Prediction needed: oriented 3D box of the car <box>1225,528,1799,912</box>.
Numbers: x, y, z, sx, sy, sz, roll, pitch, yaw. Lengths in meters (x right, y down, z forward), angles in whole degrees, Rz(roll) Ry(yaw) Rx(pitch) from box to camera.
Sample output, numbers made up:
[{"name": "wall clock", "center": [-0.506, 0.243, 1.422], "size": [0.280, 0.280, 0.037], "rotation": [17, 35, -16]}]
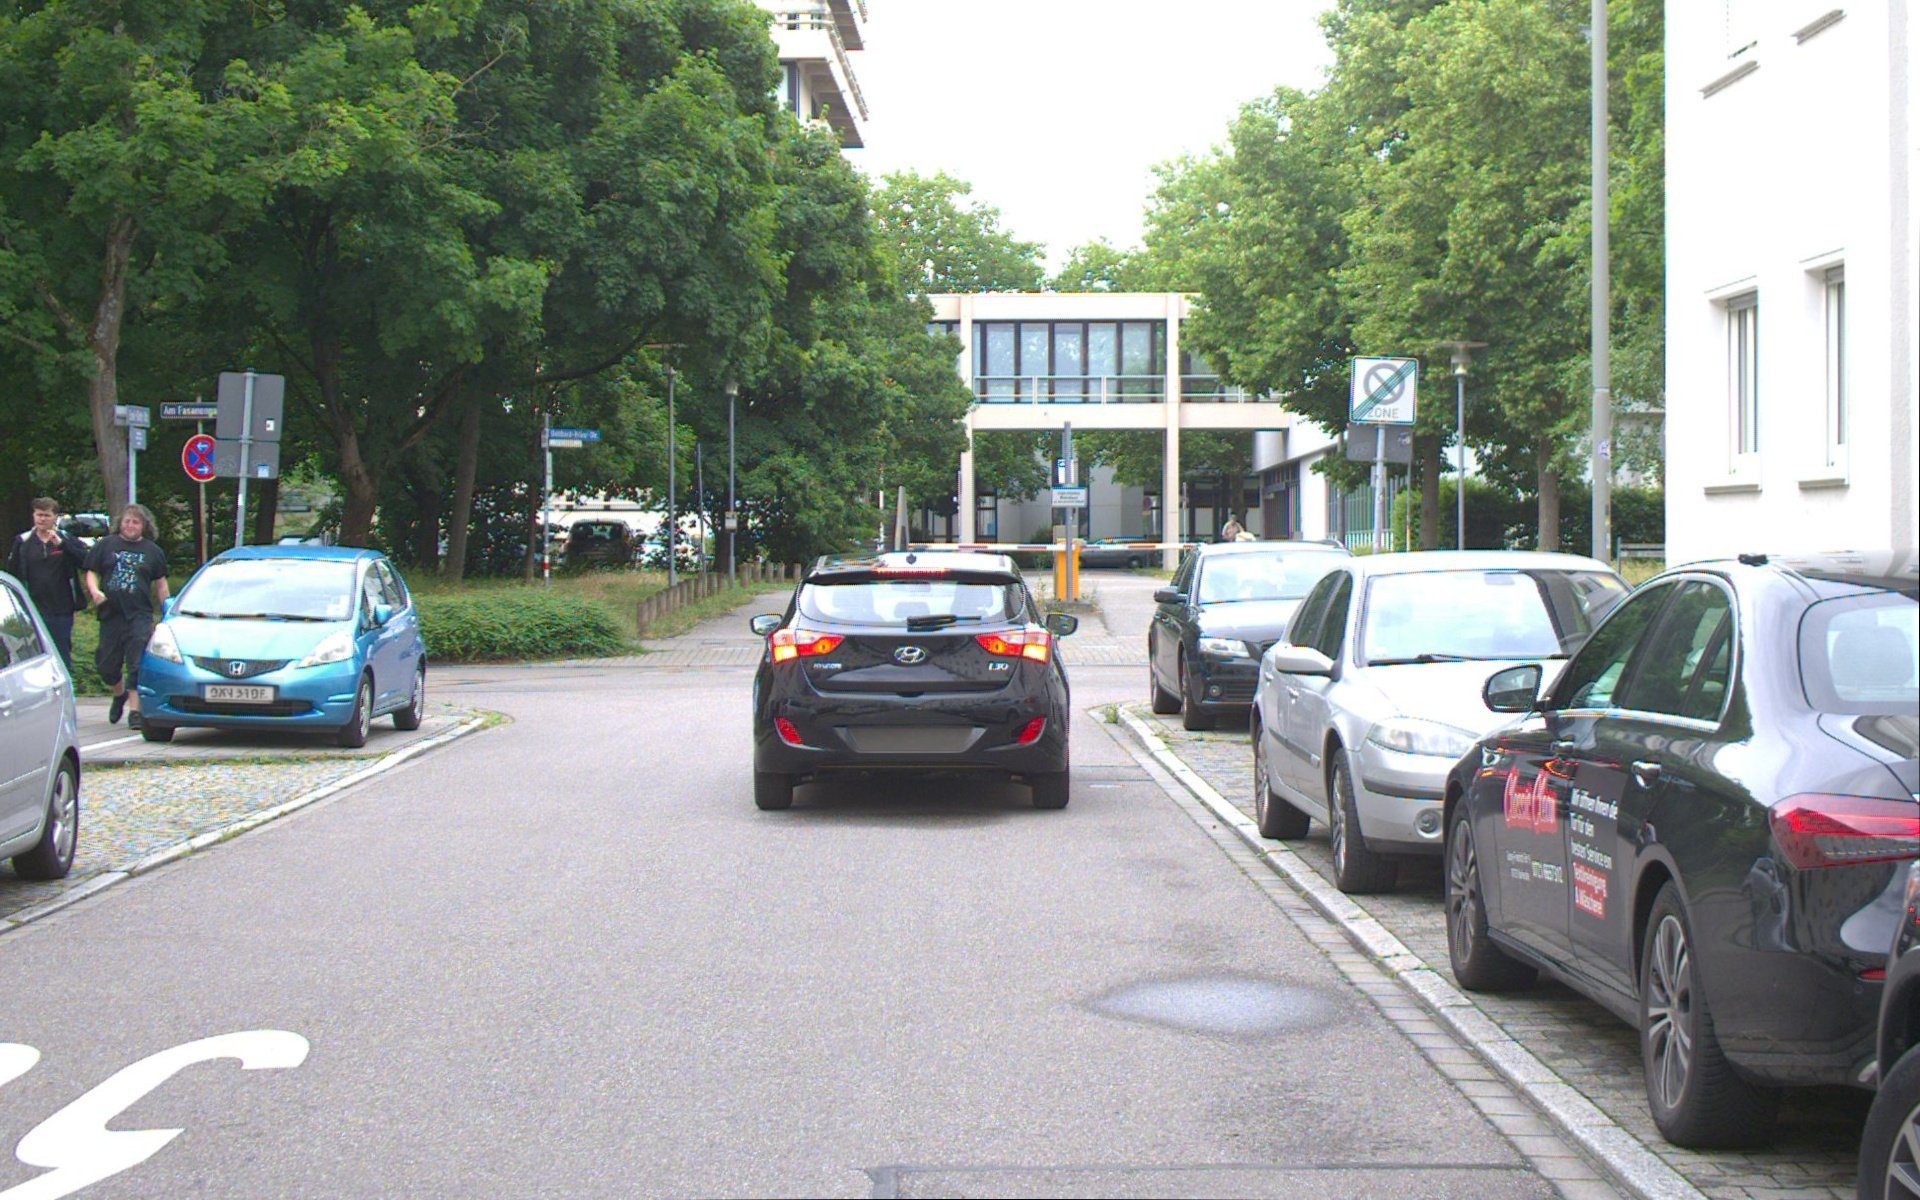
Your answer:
[{"name": "car", "center": [2.358, 0.432, 15.906], "size": [1.820, 1.514, 4.674], "rotation": [0, 1, -1]}]

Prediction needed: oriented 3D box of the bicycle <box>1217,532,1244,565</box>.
[{"name": "bicycle", "center": [8.491, -1.619, 107.933], "size": [0.693, 0.993, 1.735], "rotation": [0, 1, 1]}]

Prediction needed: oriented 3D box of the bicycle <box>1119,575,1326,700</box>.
[{"name": "bicycle", "center": [2.506, 0.351, 32.950], "size": [1.928, 1.159, 0.692], "rotation": [0, 1, 0]}]

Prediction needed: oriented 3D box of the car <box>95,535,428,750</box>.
[{"name": "car", "center": [-5.456, 0.279, 27.348], "size": [1.993, 1.535, 4.001], "rotation": [1, 1, -3]}]

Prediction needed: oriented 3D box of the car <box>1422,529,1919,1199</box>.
[{"name": "car", "center": [2.537, 0.567, 9.425], "size": [1.820, 1.514, 4.674], "rotation": [0, 1, -1]}]

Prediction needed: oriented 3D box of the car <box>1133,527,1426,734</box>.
[{"name": "car", "center": [2.456, 0.174, 27.490], "size": [1.820, 1.514, 4.674], "rotation": [0, 1, -1]}]

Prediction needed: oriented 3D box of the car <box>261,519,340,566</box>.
[{"name": "car", "center": [-18.977, -1.667, 99.047], "size": [1.665, 1.328, 3.396], "rotation": [0, 1, -1]}]

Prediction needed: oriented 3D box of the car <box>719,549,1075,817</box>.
[{"name": "car", "center": [-0.335, 0.414, 20.555], "size": [1.903, 1.428, 4.233], "rotation": [0, 1, 0]}]

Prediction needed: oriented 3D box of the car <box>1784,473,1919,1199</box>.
[{"name": "car", "center": [2.539, 0.620, 4.257], "size": [1.820, 1.597, 4.092], "rotation": [0, 1, -4]}]

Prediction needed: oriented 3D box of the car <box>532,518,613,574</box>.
[{"name": "car", "center": [-9.621, -1.356, 85.495], "size": [1.665, 1.328, 3.396], "rotation": [0, 1, -1]}]

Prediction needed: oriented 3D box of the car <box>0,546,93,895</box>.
[{"name": "car", "center": [-5.232, 0.525, 14.978], "size": [1.993, 1.536, 4.000], "rotation": [1, 1, -2]}]

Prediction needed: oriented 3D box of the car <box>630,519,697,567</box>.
[{"name": "car", "center": [-8.522, -1.650, 98.930], "size": [1.665, 1.328, 3.396], "rotation": [0, 1, -1]}]

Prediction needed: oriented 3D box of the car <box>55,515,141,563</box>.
[{"name": "car", "center": [-24.905, -1.777, 99.383], "size": [1.665, 1.328, 3.396], "rotation": [0, 1, -1]}]

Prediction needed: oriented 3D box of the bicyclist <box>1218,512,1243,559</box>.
[{"name": "bicyclist", "center": [8.496, -2.029, 107.984], "size": [0.693, 1.439, 0.795], "rotation": [0, 1, 1]}]

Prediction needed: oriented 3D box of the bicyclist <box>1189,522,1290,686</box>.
[{"name": "bicyclist", "center": [2.675, 0.032, 32.939], "size": [0.899, 1.546, 0.693], "rotation": [0, 1, 0]}]

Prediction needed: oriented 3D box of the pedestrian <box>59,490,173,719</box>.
[{"name": "pedestrian", "center": [-6.842, 0.030, 27.889], "size": [0.714, 1.825, 0.797], "rotation": [0, 1, 1]}]

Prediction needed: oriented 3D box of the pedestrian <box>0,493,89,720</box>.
[{"name": "pedestrian", "center": [-7.497, 0.047, 28.033], "size": [0.605, 1.825, 0.675], "rotation": [0, 1, 1]}]
